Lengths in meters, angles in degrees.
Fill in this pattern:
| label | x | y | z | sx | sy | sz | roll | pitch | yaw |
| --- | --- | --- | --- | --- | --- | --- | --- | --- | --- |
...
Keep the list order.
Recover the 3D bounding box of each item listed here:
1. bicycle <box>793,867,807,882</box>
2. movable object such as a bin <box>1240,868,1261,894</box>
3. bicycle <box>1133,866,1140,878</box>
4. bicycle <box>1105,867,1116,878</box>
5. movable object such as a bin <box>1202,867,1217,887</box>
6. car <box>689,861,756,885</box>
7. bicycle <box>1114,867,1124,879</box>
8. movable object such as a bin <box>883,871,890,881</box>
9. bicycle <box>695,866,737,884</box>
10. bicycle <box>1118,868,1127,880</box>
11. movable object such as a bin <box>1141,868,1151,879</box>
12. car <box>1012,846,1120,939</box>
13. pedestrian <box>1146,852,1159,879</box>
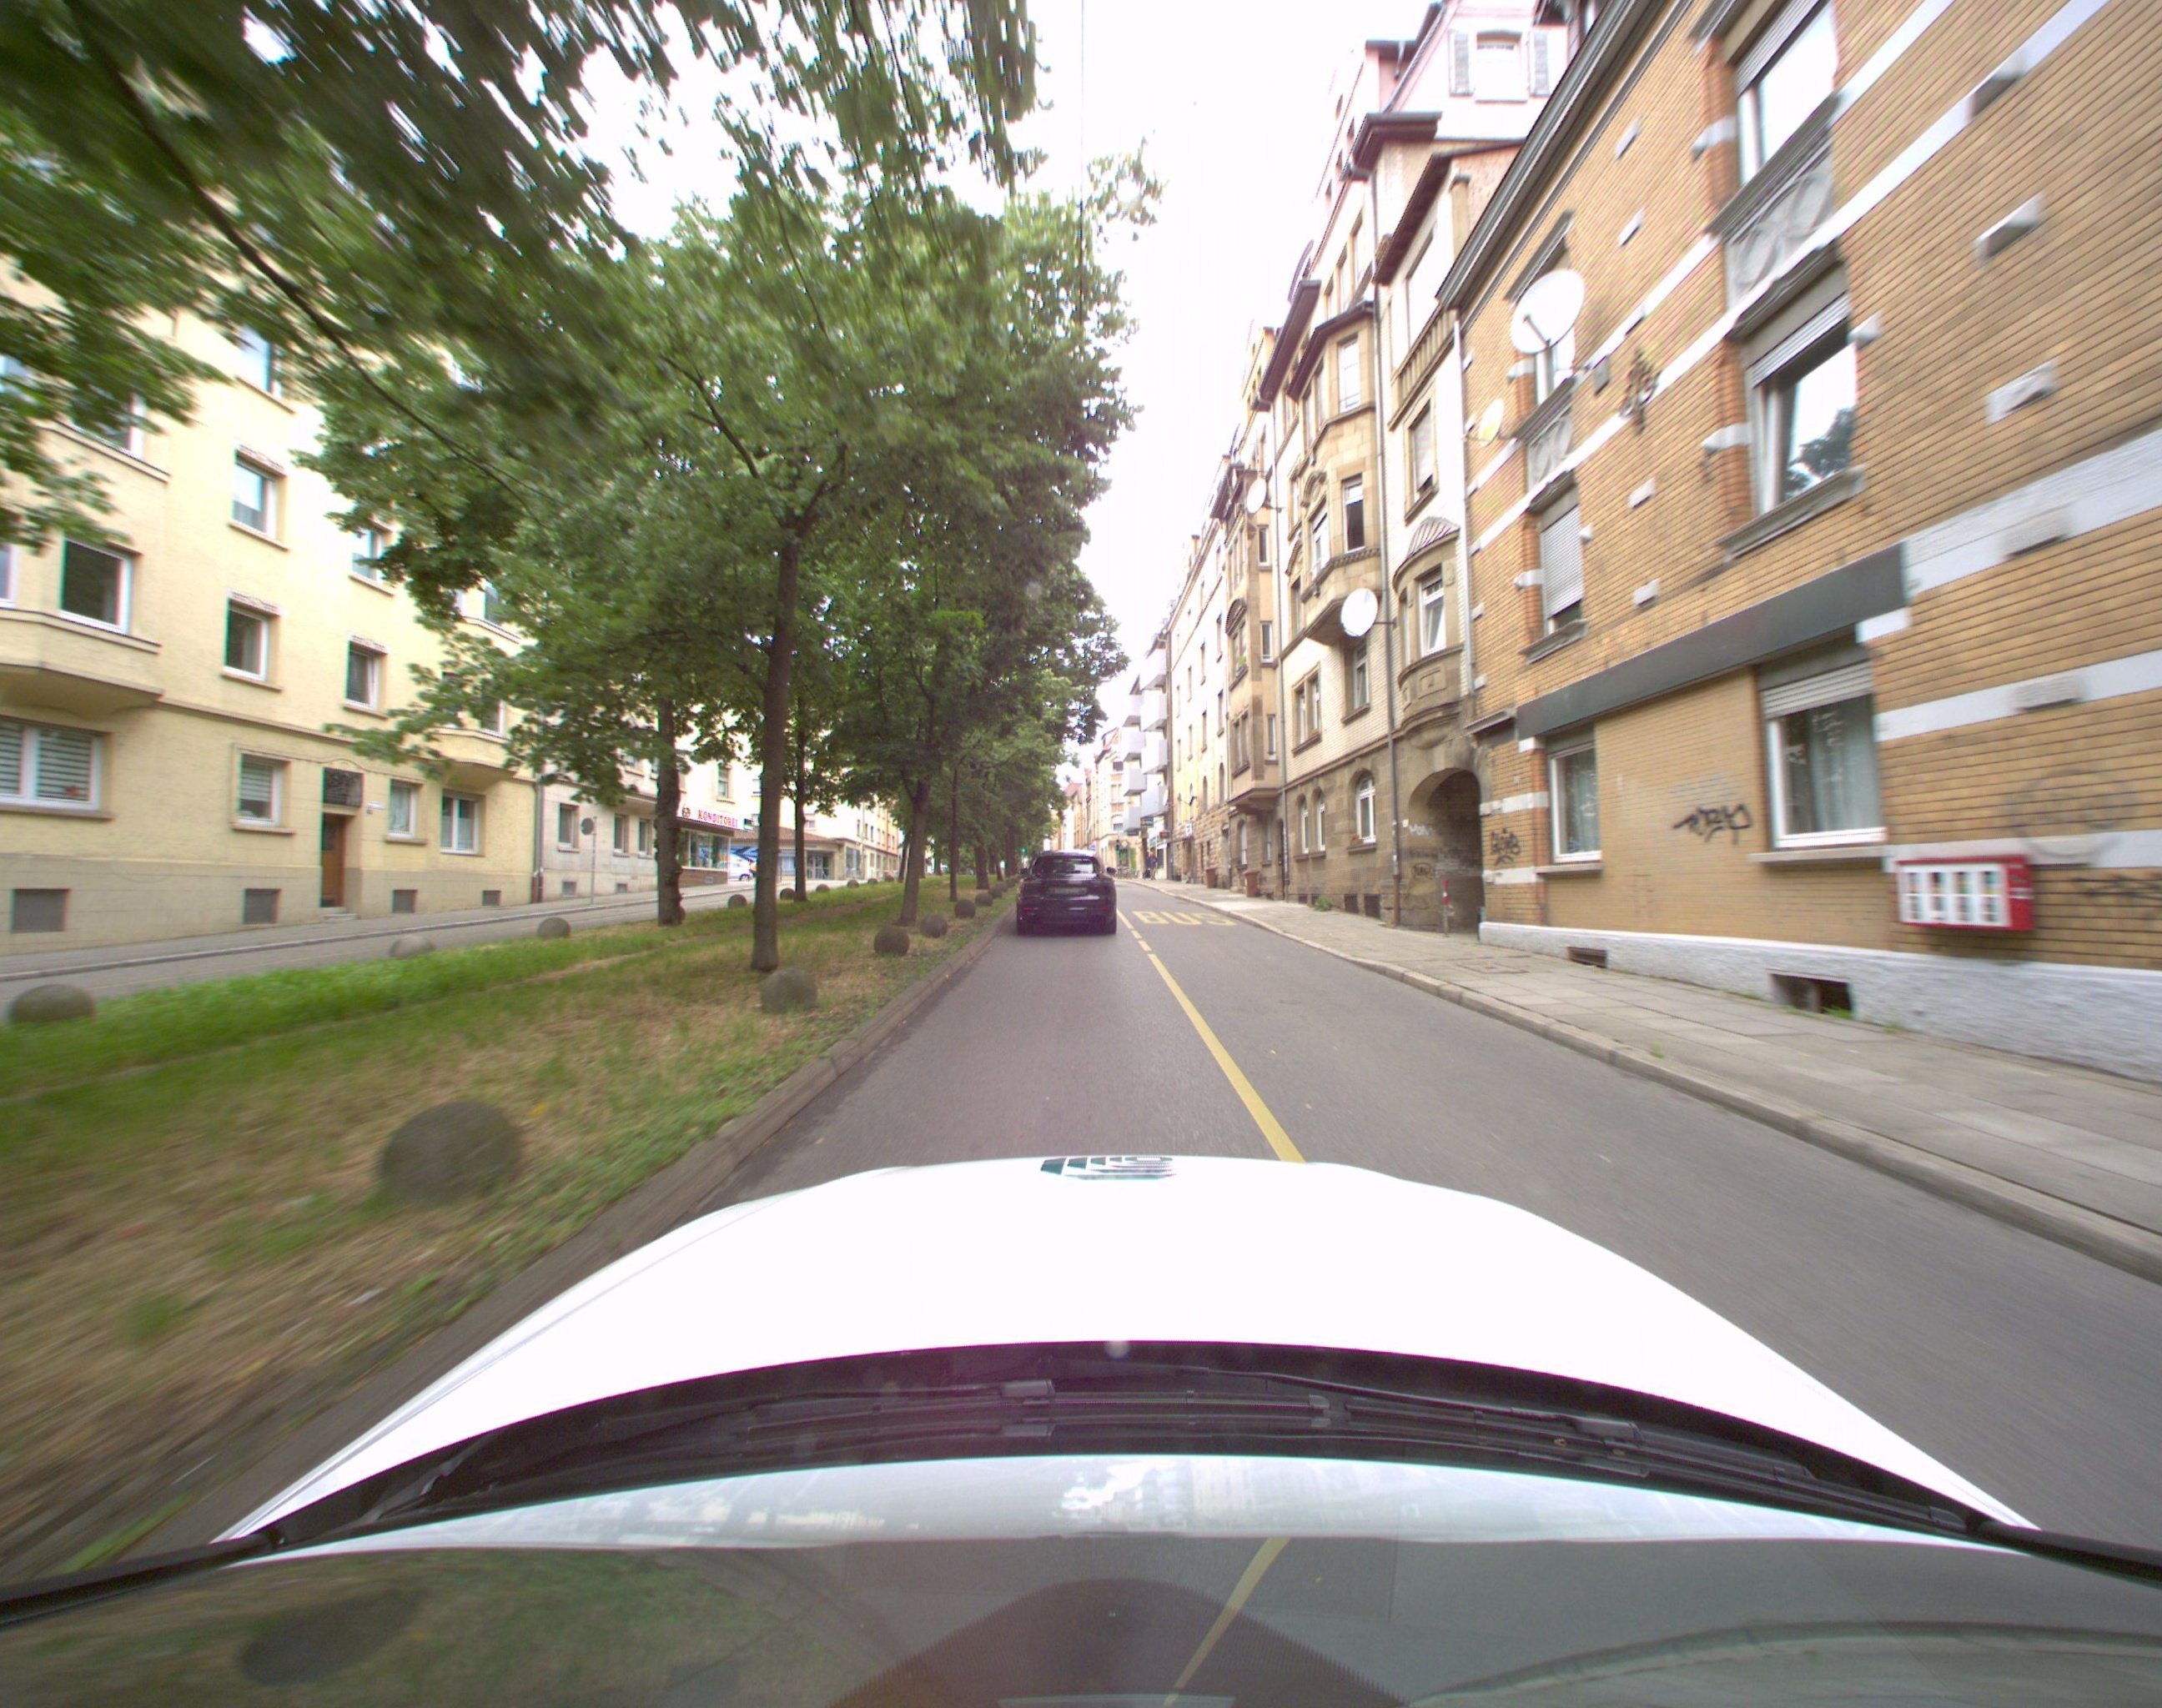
| label | x | y | z | sx | sy | sz | roll | pitch | yaw |
| --- | --- | --- | --- | --- | --- | --- | --- | --- | --- |
| bicycle | -20.935 | 1.560 | 60.661 | 0.765 | 1.085 | 2.020 | 2 | -3 | -24 |
| movable object such as a bin | 5.911 | 0.943 | 28.409 | 0.592 | 0.904 | 0.562 | 0 | -1 | -1 |
| bicycle | 5.864 | 1.926 | 86.340 | 0.446 | 1.161 | 1.832 | -1 | 3 | -4 |
| bicycle | 3.189 | 2.040 | 88.275 | 0.877 | 1.129 | 2.975 | 0 | -2 | -3 |
| movable object such as a bin | 5.827 | 1.036 | 36.885 | 0.592 | 0.904 | 0.502 | 0 | -5 | -1 |
| car | -25.370 | 1.344 | 57.663 | 4.059 | 1.479 | 1.802 | -3 | -1 | -35 |
| bicycle | 3.092 | 1.562 | 65.715 | 0.287 | 0.931 | 1.751 | 1 | -2 | -15 |
| movable object such as a bin | -21.296 | 2.385 | 89.176 | 0.691 | 1.060 | 0.688 | 1 | -3 | -8 |
| bicycle | -21.947 | 1.248 | 48.984 | 2.429 | 1.046 | 0.873 | 0 | -2 | 24 |
| bicycle | 3.200 | 1.576 | 63.078 | 0.567 | 0.931 | 1.773 | 0 | -2 | -3 |
| movable object such as a bin | 4.253 | 1.295 | 53.246 | 0.606 | 0.669 | 0.858 | -1 | -2 | -1 |
| car | -0.243 | 0.707 | 17.190 | 1.987 | 1.665 | 4.001 | 1 | 1 | 1 |
| pedestrian | 4.597 | 0.746 | 52.412 | 0.749 | 1.693 | 0.858 | -1 | -2 | -1 |
